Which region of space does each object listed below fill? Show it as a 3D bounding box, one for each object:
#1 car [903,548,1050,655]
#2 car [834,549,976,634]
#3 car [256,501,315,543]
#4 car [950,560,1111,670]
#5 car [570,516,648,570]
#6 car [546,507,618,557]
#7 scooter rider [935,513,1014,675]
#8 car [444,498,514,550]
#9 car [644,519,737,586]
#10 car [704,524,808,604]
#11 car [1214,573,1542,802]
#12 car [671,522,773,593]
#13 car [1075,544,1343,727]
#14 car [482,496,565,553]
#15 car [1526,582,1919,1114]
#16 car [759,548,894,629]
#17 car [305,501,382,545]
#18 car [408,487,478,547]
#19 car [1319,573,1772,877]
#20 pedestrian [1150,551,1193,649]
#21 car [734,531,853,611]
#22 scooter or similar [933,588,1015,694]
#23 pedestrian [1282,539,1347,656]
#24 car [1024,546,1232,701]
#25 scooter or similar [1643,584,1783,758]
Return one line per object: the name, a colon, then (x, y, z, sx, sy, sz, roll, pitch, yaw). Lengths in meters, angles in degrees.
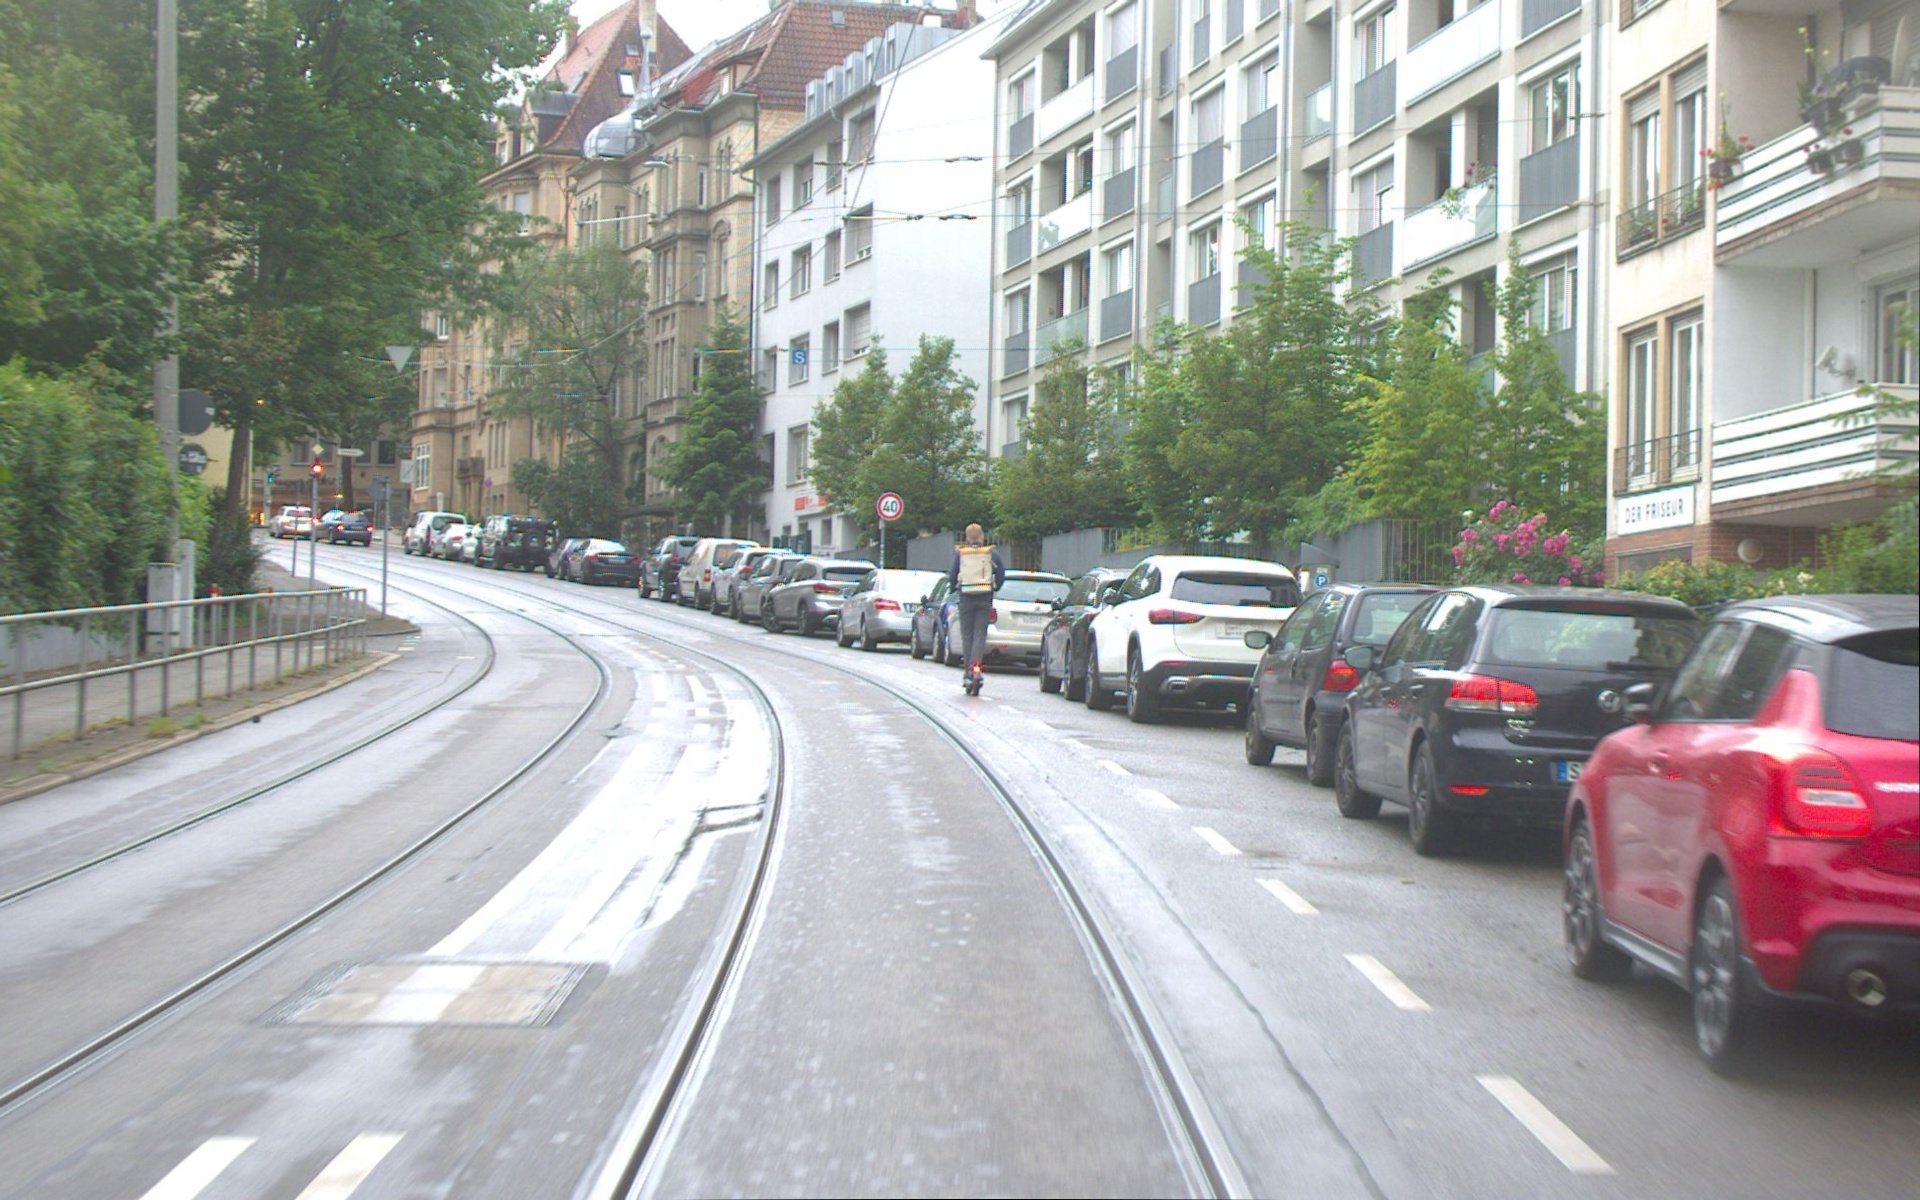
car: (0.224, -0.001, 54.698, 1.701, 1.507, 3.715, 2, 1, -9)
car: (-1.035, -0.177, 61.812, 1.761, 1.430, 4.641, 1, 1, -11)
car: (-30.383, -3.524, 154.883, 1.856, 1.728, 4.141, 2, 1, -21)
car: (0.976, 0.183, 50.038, 1.661, 1.466, 4.509, 2, 0, -7)
car: (-10.954, -1.794, 106.962, 1.766, 1.512, 4.141, 2, 1, -14)
car: (-12.311, -2.228, 111.828, 1.649, 1.530, 3.890, -2, 3, -16)
scooter rider: (0.157, -0.068, 37.427, 0.623, 1.700, 0.844, 4, 1, -9)
car: (-18.440, -2.918, 131.644, 2.027, 1.818, 4.141, 2, 1, -16)
car: (-7.366, -1.313, 93.593, 1.766, 1.678, 4.250, 2, 1, -14)
car: (-4.965, -0.891, 83.018, 1.766, 1.781, 4.250, 2, 1, -13)
car: (2.992, 0.581, 25.428, 1.556, 1.432, 4.304, 2, 1, -4)
car: (-6.186, -1.116, 89.046, 1.766, 1.678, 4.250, 2, 1, -15)
car: (2.389, 0.300, 34.090, 1.837, 1.567, 4.249, 3, 1, -6)
car: (-15.348, -2.663, 120.678, 2.027, 1.818, 4.369, 2, 1, -18)
car: (3.114, 0.716, 11.698, 1.722, 1.432, 3.841, 2, 1, 0)
car: (-2.809, -0.260, 71.551, 1.766, 1.610, 4.249, 0, 1, -17)
car: (-26.848, -3.363, 149.666, 2.027, 1.728, 4.140, 2, 2, -29)
car: (-20.545, -3.311, 136.379, 2.027, 2.210, 4.141, 2, 1, -18)
car: (3.196, 0.624, 19.541, 1.683, 1.432, 4.065, 2, 1, -2)
pedestrian: (3.376, -0.011, 54.856, 0.569, 1.537, 0.651, -1, 1, -4)
car: (-3.787, -0.677, 77.540, 1.766, 1.609, 4.250, 2, 1, -15)
scooter or similar: (0.144, 0.430, 37.532, 0.513, 1.046, 2.009, 3, 1, -9)
pedestrian: (4.758, -0.042, 46.183, 0.569, 1.537, 0.930, -1, 1, -13)
car: (1.854, 0.216, 39.256, 1.701, 1.507, 4.572, 4, 1, -5)
scooter or similar: (5.661, 0.522, 25.888, 0.468, 1.230, 1.200, -2, 3, -19)
